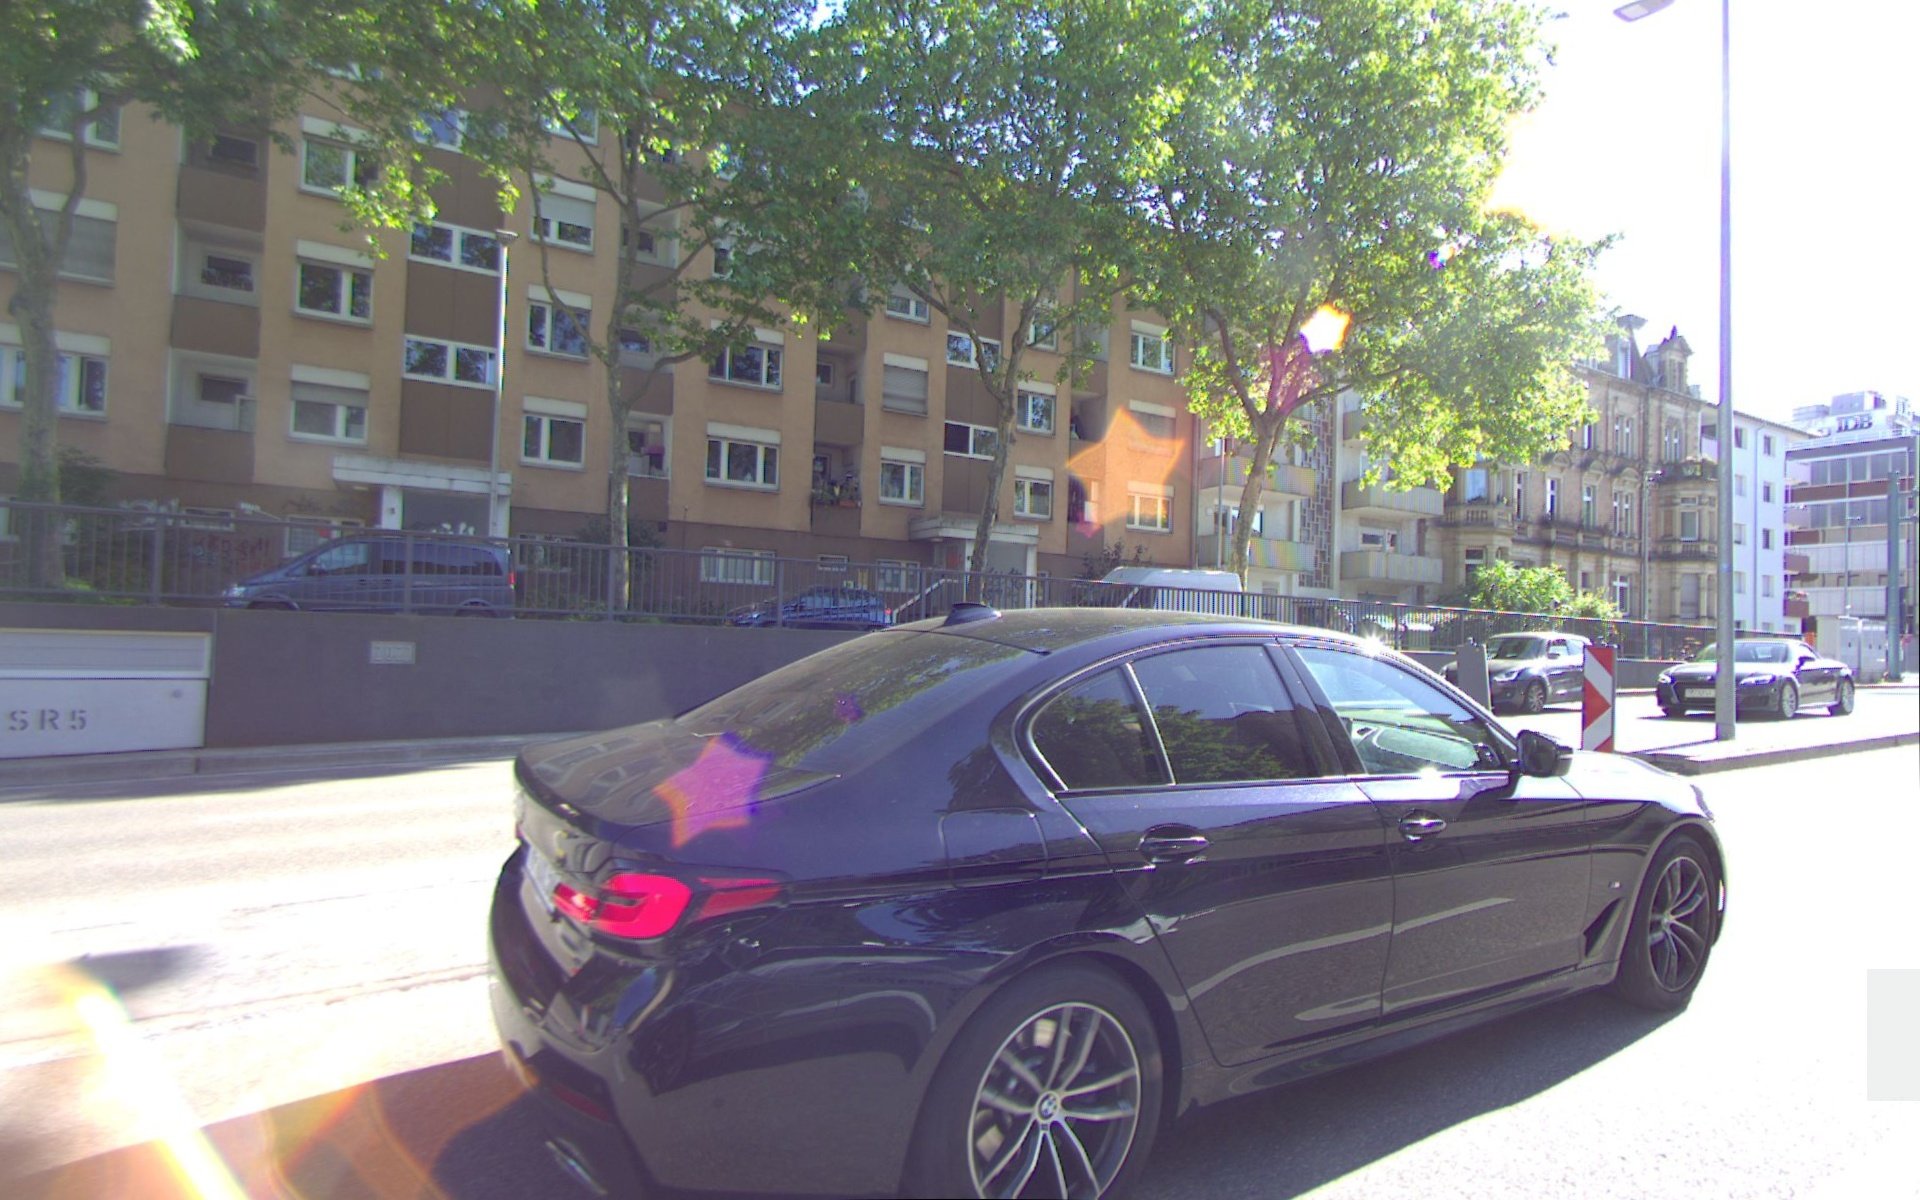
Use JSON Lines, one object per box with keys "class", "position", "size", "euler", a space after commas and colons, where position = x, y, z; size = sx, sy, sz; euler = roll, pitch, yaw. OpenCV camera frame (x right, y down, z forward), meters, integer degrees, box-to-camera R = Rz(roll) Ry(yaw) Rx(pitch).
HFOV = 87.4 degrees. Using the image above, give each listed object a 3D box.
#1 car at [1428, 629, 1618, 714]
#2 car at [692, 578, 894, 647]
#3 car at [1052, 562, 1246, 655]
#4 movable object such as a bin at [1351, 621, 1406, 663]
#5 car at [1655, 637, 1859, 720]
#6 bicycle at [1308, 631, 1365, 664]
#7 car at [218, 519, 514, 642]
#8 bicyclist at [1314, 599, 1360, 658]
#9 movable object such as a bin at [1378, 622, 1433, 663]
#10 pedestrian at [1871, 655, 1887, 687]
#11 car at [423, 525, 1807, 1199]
{"class": "car", "position": [10.753, 1.329, 19.142], "size": [3.676, 1.484, 1.531], "euler": [1, -4, -32]}
{"class": "car", "position": [-3.827, 0.300, 23.147], "size": [4.124, 1.407, 1.983], "euler": [2, 0, -31]}
{"class": "car", "position": [5.408, 0.279, 28.428], "size": [5.355, 2.391, 1.984], "euler": [2, 0, -30]}
{"class": "movable object such as a bin", "position": [14.886, 1.487, 35.754], "size": [1.286, 1.421, 1.273], "euler": [2, 0, -30]}
{"class": "car", "position": [13.998, 1.331, 17.600], "size": [3.883, 1.317, 1.531], "euler": [1, -4, -32]}
{"class": "bicycle", "position": [11.034, 1.395, 29.432], "size": [1.740, 0.939, 0.652], "euler": [2, 0, -34]}
{"class": "car", "position": [-10.907, -0.279, 18.695], "size": [4.479, 1.986, 1.954], "euler": [2, 0, -33]}
{"class": "bicyclist", "position": [11.050, 0.834, 29.430], "size": [1.012, 1.655, 0.770], "euler": [2, 0, -34]}
{"class": "movable object such as a bin", "position": [16.115, 1.536, 36.330], "size": [1.309, 1.421, 1.273], "euler": [2, 0, -30]}
{"class": "pedestrian", "position": [56.809, 4.355, 62.071], "size": [0.718, 1.921, 0.652], "euler": [2, 0, -43]}
{"class": "car", "position": [0.930, 0.710, 3.636], "size": [4.947, 1.458, 1.799], "euler": [3, -1, -32]}
